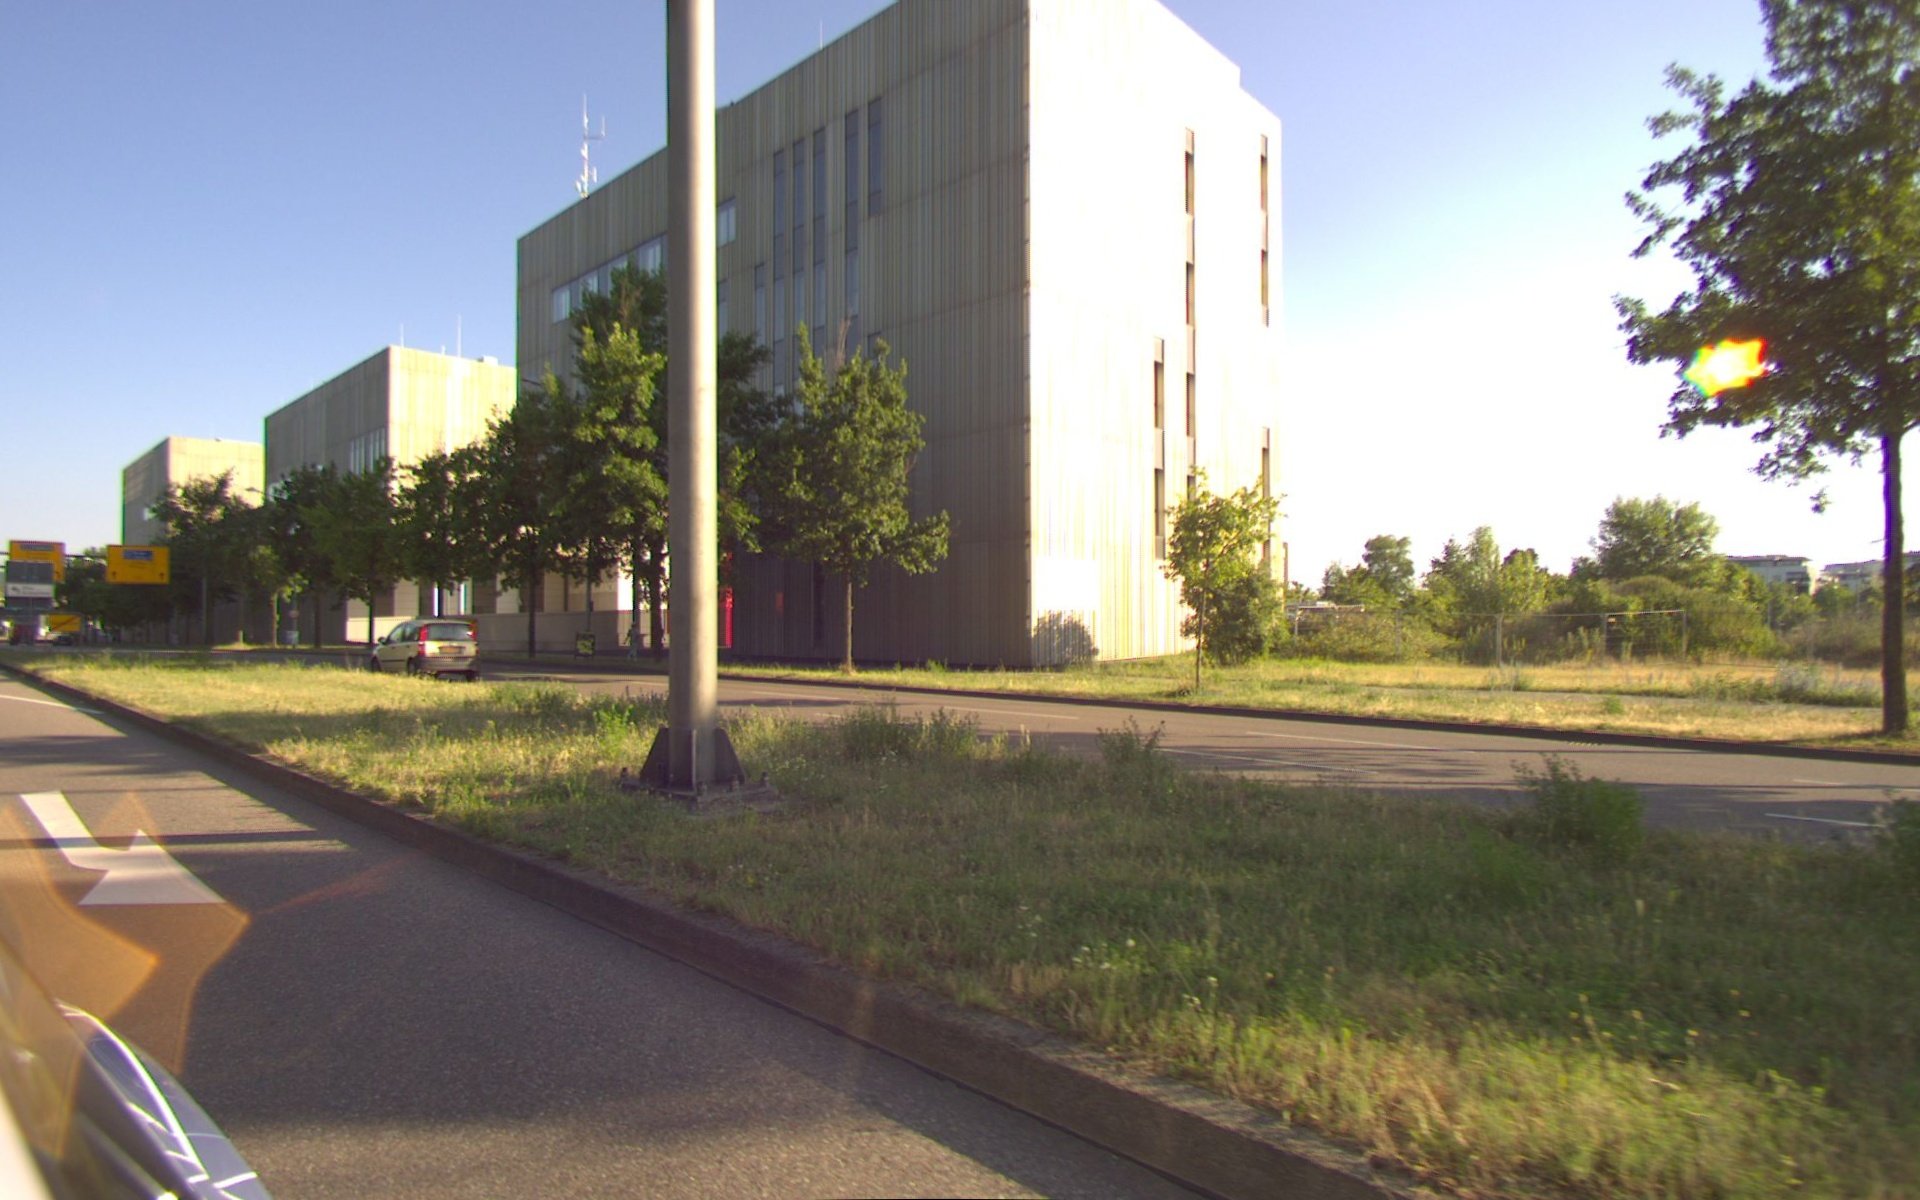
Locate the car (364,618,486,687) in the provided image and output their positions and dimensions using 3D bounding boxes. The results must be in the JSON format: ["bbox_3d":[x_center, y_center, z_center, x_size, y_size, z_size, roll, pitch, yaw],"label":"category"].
[{"bbox_3d":[-13.307,1.269,25.112,3.410,1.587,1.546,-1,-2,41],"label":"car"}]

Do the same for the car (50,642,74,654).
[{"bbox_3d":[-117.031,6.202,131.892,3.861,1.524,1.581,-2,-2,37],"label":"car"}]

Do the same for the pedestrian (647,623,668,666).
[{"bbox_3d":[-13.140,1.940,43.988,0.717,1.855,0.625,-2,-3,44],"label":"pedestrian"}]

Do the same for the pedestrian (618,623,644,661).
[{"bbox_3d":[-14.265,1.828,43.878,0.909,1.614,0.767,-2,-3,44],"label":"pedestrian"}]

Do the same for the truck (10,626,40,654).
[{"bbox_3d":[-133.584,5.737,144.537,2.963,3.840,10.096,1,-3,-44],"label":"truck"}]

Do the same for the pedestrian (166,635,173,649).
[{"bbox_3d":[-97.887,5.206,125.353,0.649,1.781,0.596,-3,-3,44],"label":"pedestrian"}]
